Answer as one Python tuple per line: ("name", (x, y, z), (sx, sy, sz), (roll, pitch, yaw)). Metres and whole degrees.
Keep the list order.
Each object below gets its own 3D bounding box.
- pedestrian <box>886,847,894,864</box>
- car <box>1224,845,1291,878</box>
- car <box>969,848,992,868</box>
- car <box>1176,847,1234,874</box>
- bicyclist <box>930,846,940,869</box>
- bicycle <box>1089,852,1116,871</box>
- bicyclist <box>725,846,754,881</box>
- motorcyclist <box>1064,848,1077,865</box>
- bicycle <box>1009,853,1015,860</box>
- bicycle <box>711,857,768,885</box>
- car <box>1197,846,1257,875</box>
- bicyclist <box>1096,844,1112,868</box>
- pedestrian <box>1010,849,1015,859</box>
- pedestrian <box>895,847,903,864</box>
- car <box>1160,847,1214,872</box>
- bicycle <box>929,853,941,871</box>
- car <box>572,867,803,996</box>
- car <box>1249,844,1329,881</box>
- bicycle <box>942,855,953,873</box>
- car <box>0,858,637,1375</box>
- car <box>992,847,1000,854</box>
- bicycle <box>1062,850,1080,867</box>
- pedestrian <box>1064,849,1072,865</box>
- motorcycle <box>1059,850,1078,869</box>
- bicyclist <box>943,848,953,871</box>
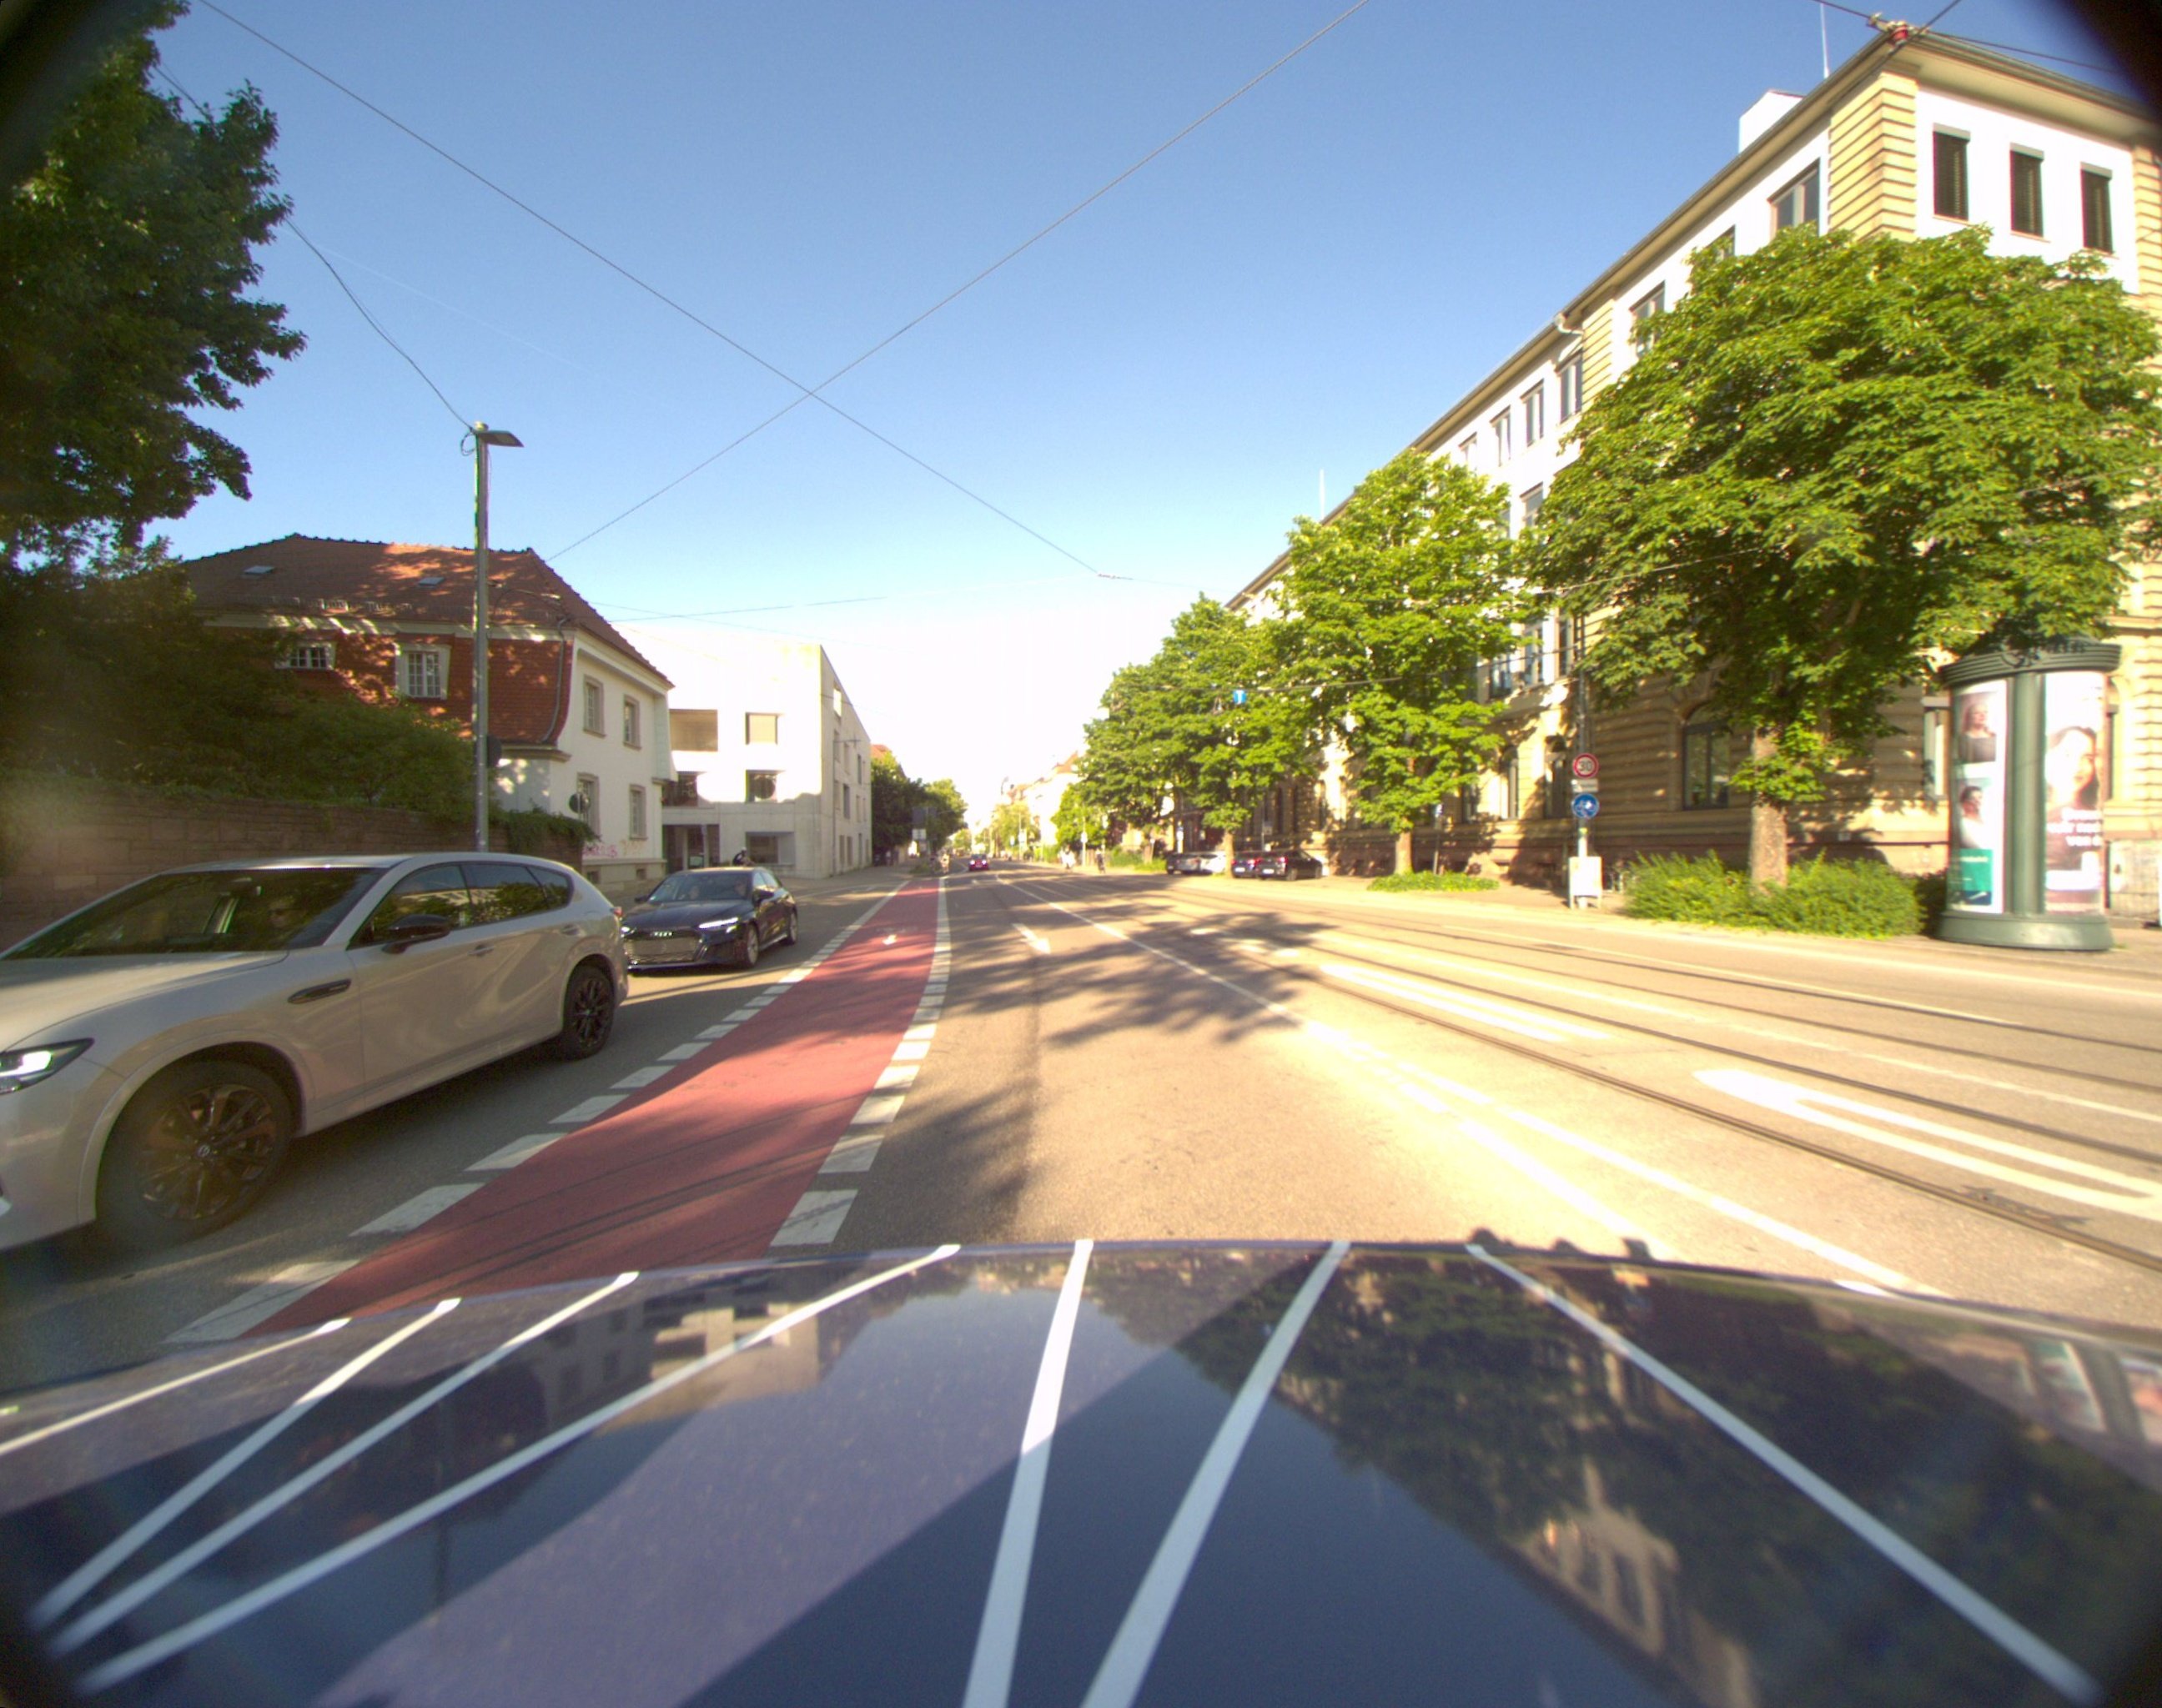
("pedestrian", (-18.358, 0.142, 72.948), (0.676, 1.638, 0.817), (-1, 1, -9))
("car", (9.419, 0.385, 40.413), (3.657, 1.552, 1.645), (-3, 1, -43))
("car", (-8.331, 0.344, 63.277), (1.649, 1.552, 3.648), (-2, 1, -5))
("car", (7.912, 0.384, 48.360), (3.657, 1.552, 1.645), (-3, 1, -43))
("bicyclist", (-10.595, 0.247, 55.171), (0.676, 1.638, 1.028), (0, 1, -8))
("bicycle", (1.542, 0.509, 52.868), (0.674, 1.243, 2.462), (0, 1, 33))
("bicyclist", (-16.120, 0.427, 35.839), (0.674, 1.638, 1.031), (0, 1, 31))
("motorcyclist", (-0.769, 0.155, 55.468), (0.675, 1.243, 0.854), (0, 1, 15))
("bicycle", (-11.409, 0.387, 126.015), (0.676, 1.243, 2.456), (-1, 1, 0))
("bicycle", (-16.096, 0.775, 35.885), (0.674, 1.243, 2.461), (0, 1, 32))
("car", (8.890, 0.383, 46.129), (3.657, 1.552, 1.645), (-3, 1, -43))
("bicyclist", (1.577, 0.125, 52.919), (0.674, 1.638, 1.031), (0, 1, 34))
("pedestrian", (-11.414, -0.053, 126.016), (0.675, 1.638, 0.817), (-1, 1, 0))
("pedestrian", (-17.517, 0.119, 73.172), (0.676, 1.638, 0.817), (-1, 1, -9))
("car", (7.236, 0.355, 51.770), (3.657, 1.552, 1.645), (-3, 1, -43))
("bicycle", (-10.598, 0.566, 55.209), (0.676, 1.243, 2.454), (0, 1, -8))
("car", (-5.620, 0.995, 11.480), (1.789, 1.425, 3.997), (-2, 1, -8))
("car", (10.383, 0.402, 37.753), (4.189, 1.621, 1.841), (-3, 1, -43))
("bicycle", (-9.476, 0.695, 54.088), (0.676, 1.243, 2.454), (0, 1, -8))
("car", (-4.806, 0.935, 4.473), (1.946, 1.682, 4.529), (-2, 1, -5))
("car", (-22.386, -0.894, 199.006), (1.650, 1.552, 3.646), (-2, 1, -12))
("bicycle", (-0.731, 0.311, 55.607), (0.675, 1.243, 2.459), (0, 1, 15))
("pedestrian", (-1.420, 0.313, 81.299), (0.676, 1.638, 0.817), (-1, 1, -9))
("motorcycle", (-0.889, 0.396, 55.556), (0.680, 1.285, 2.268), (-2, 1, 16))
("bicyclist", (-9.472, 0.361, 54.045), (0.676, 1.638, 1.028), (0, 1, -8))
